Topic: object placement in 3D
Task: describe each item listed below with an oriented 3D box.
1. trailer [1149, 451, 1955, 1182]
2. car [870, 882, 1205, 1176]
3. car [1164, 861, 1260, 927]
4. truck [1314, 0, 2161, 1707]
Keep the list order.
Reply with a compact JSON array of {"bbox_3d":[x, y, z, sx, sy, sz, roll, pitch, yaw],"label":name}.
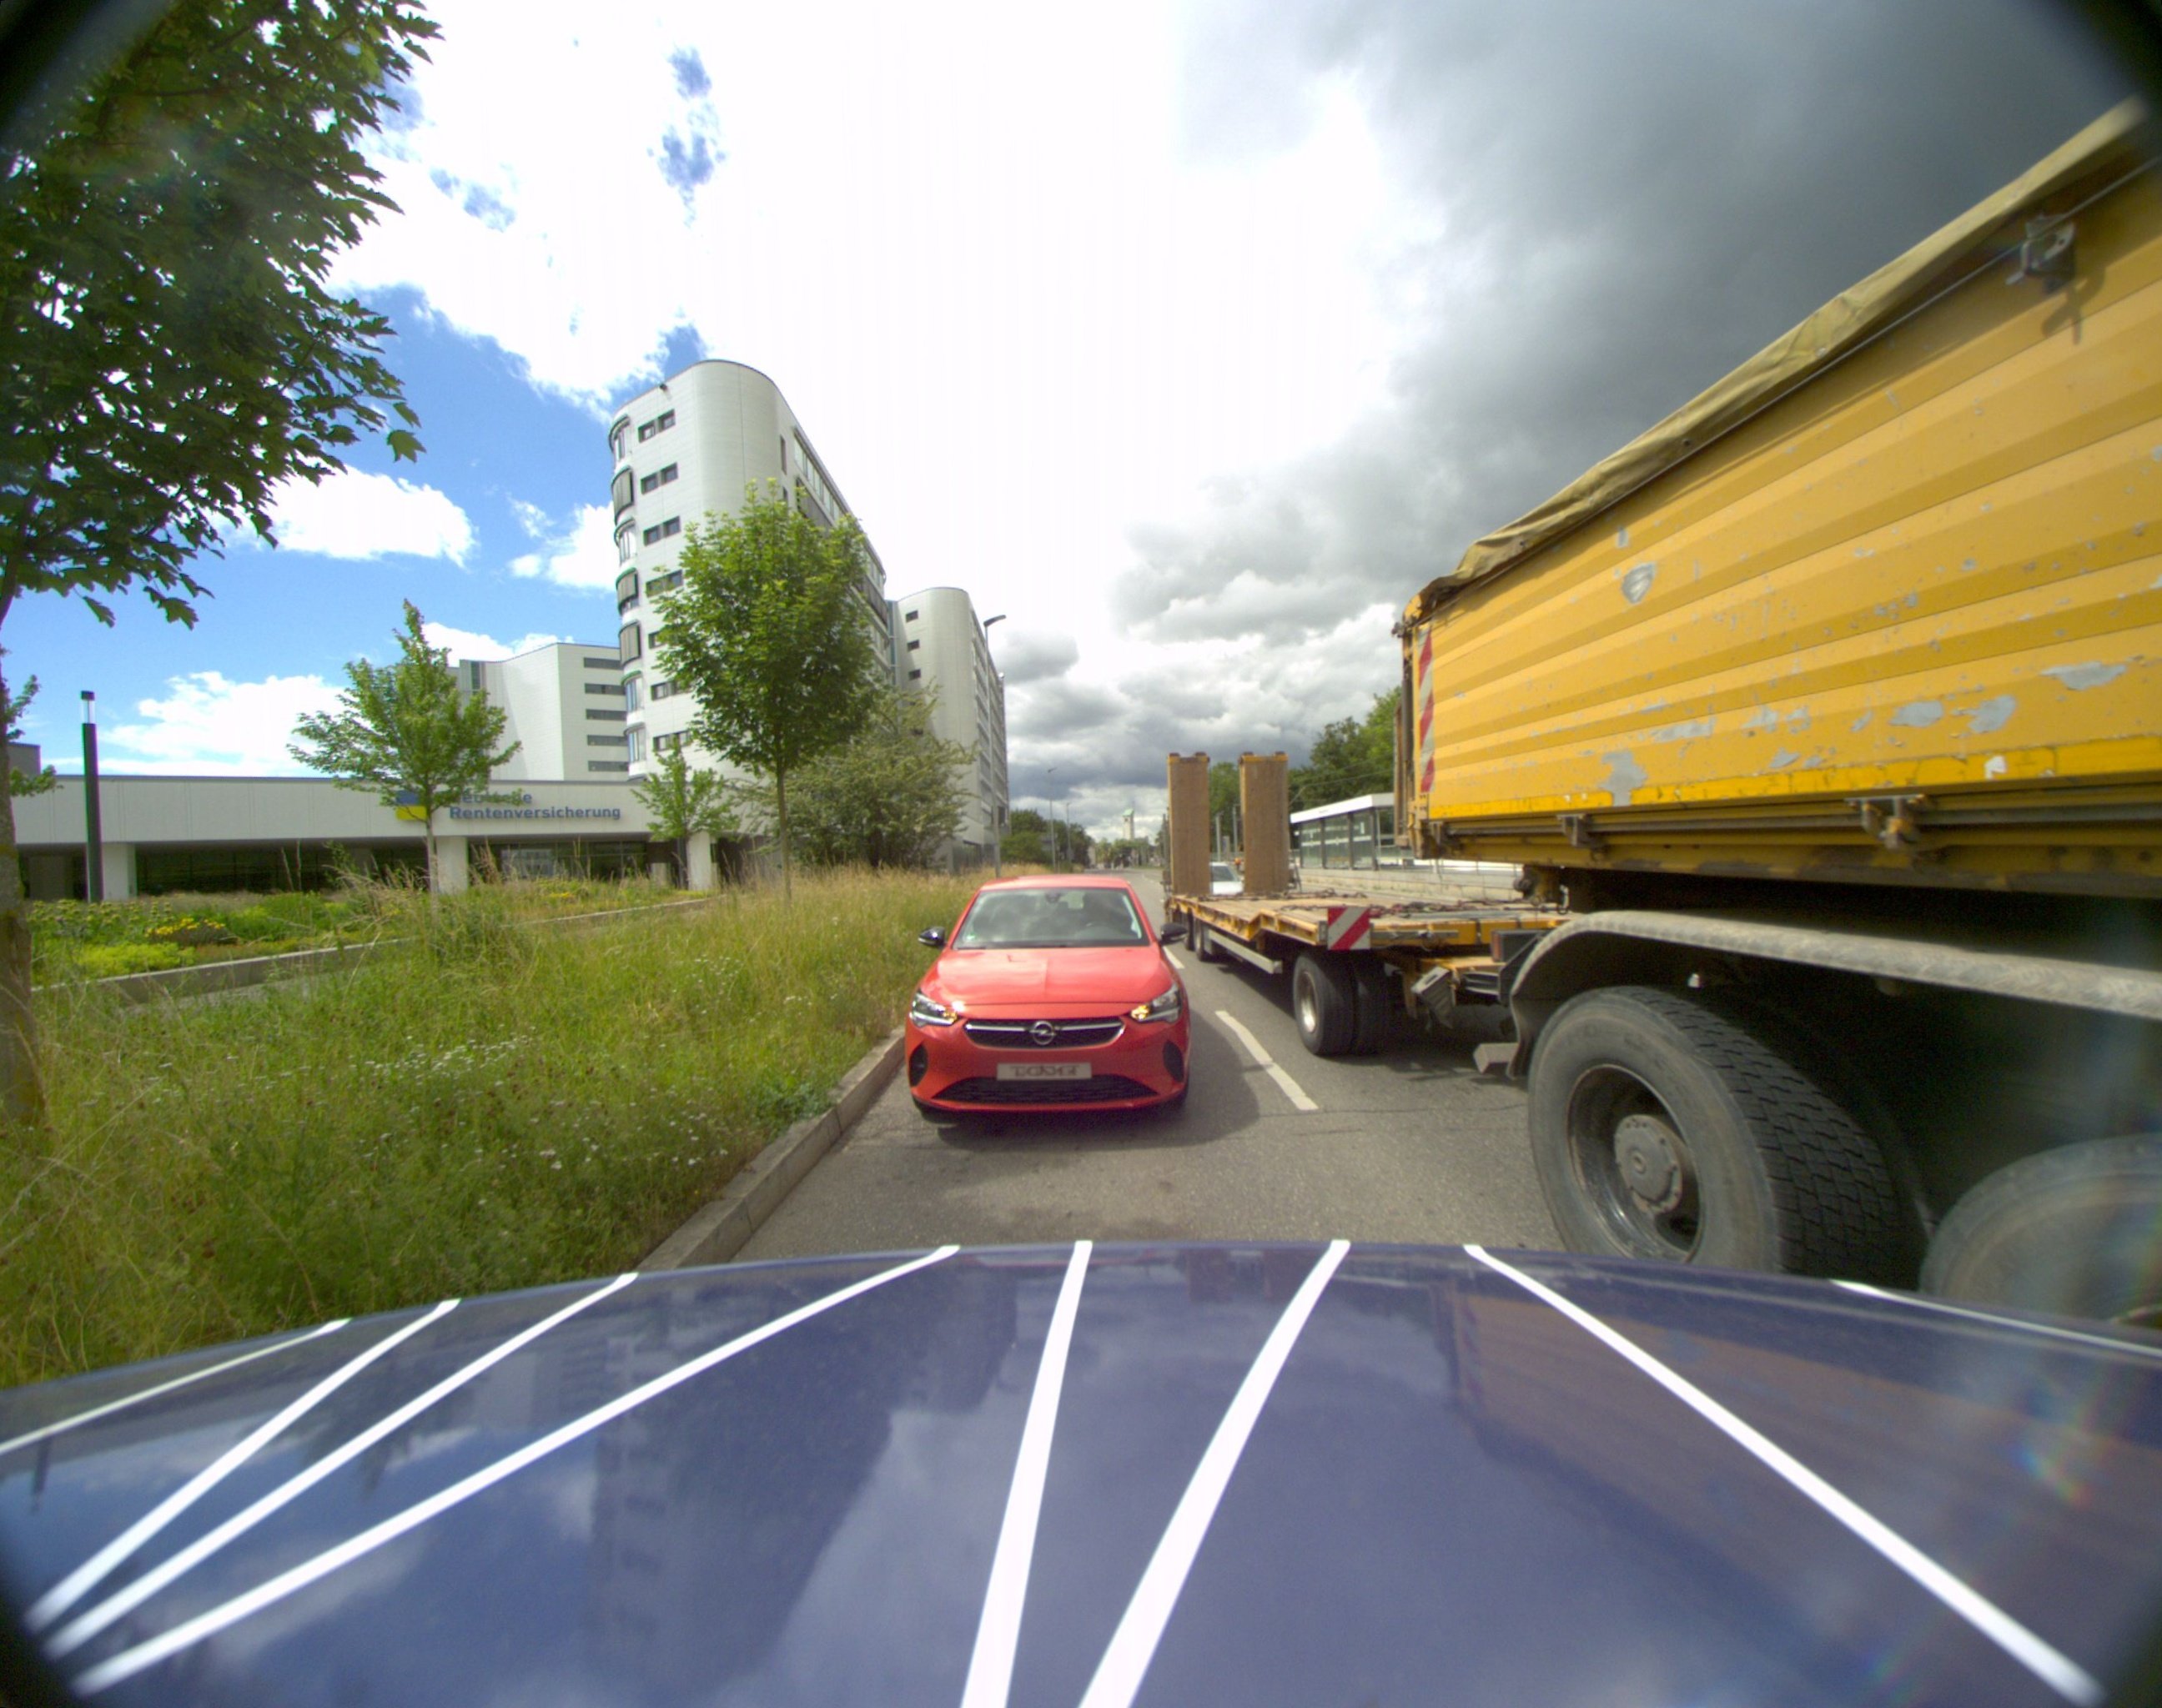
[{"bbox_3d":[2.942,-0.169,9.418,3.057,3.676,10.965,-2,0,0],"label":"trailer"},{"bbox_3d":[-0.198,0.993,5.847,1.749,1.408,3.676,-1,0,1],"label":"car"},{"bbox_3d":[3.180,0.919,19.098,1.784,1.408,3.785,-2,0,1],"label":"car"},{"bbox_3d":[2.870,-0.056,0.117,3.057,3.374,8.006,-2,0,0],"label":"truck"}]
